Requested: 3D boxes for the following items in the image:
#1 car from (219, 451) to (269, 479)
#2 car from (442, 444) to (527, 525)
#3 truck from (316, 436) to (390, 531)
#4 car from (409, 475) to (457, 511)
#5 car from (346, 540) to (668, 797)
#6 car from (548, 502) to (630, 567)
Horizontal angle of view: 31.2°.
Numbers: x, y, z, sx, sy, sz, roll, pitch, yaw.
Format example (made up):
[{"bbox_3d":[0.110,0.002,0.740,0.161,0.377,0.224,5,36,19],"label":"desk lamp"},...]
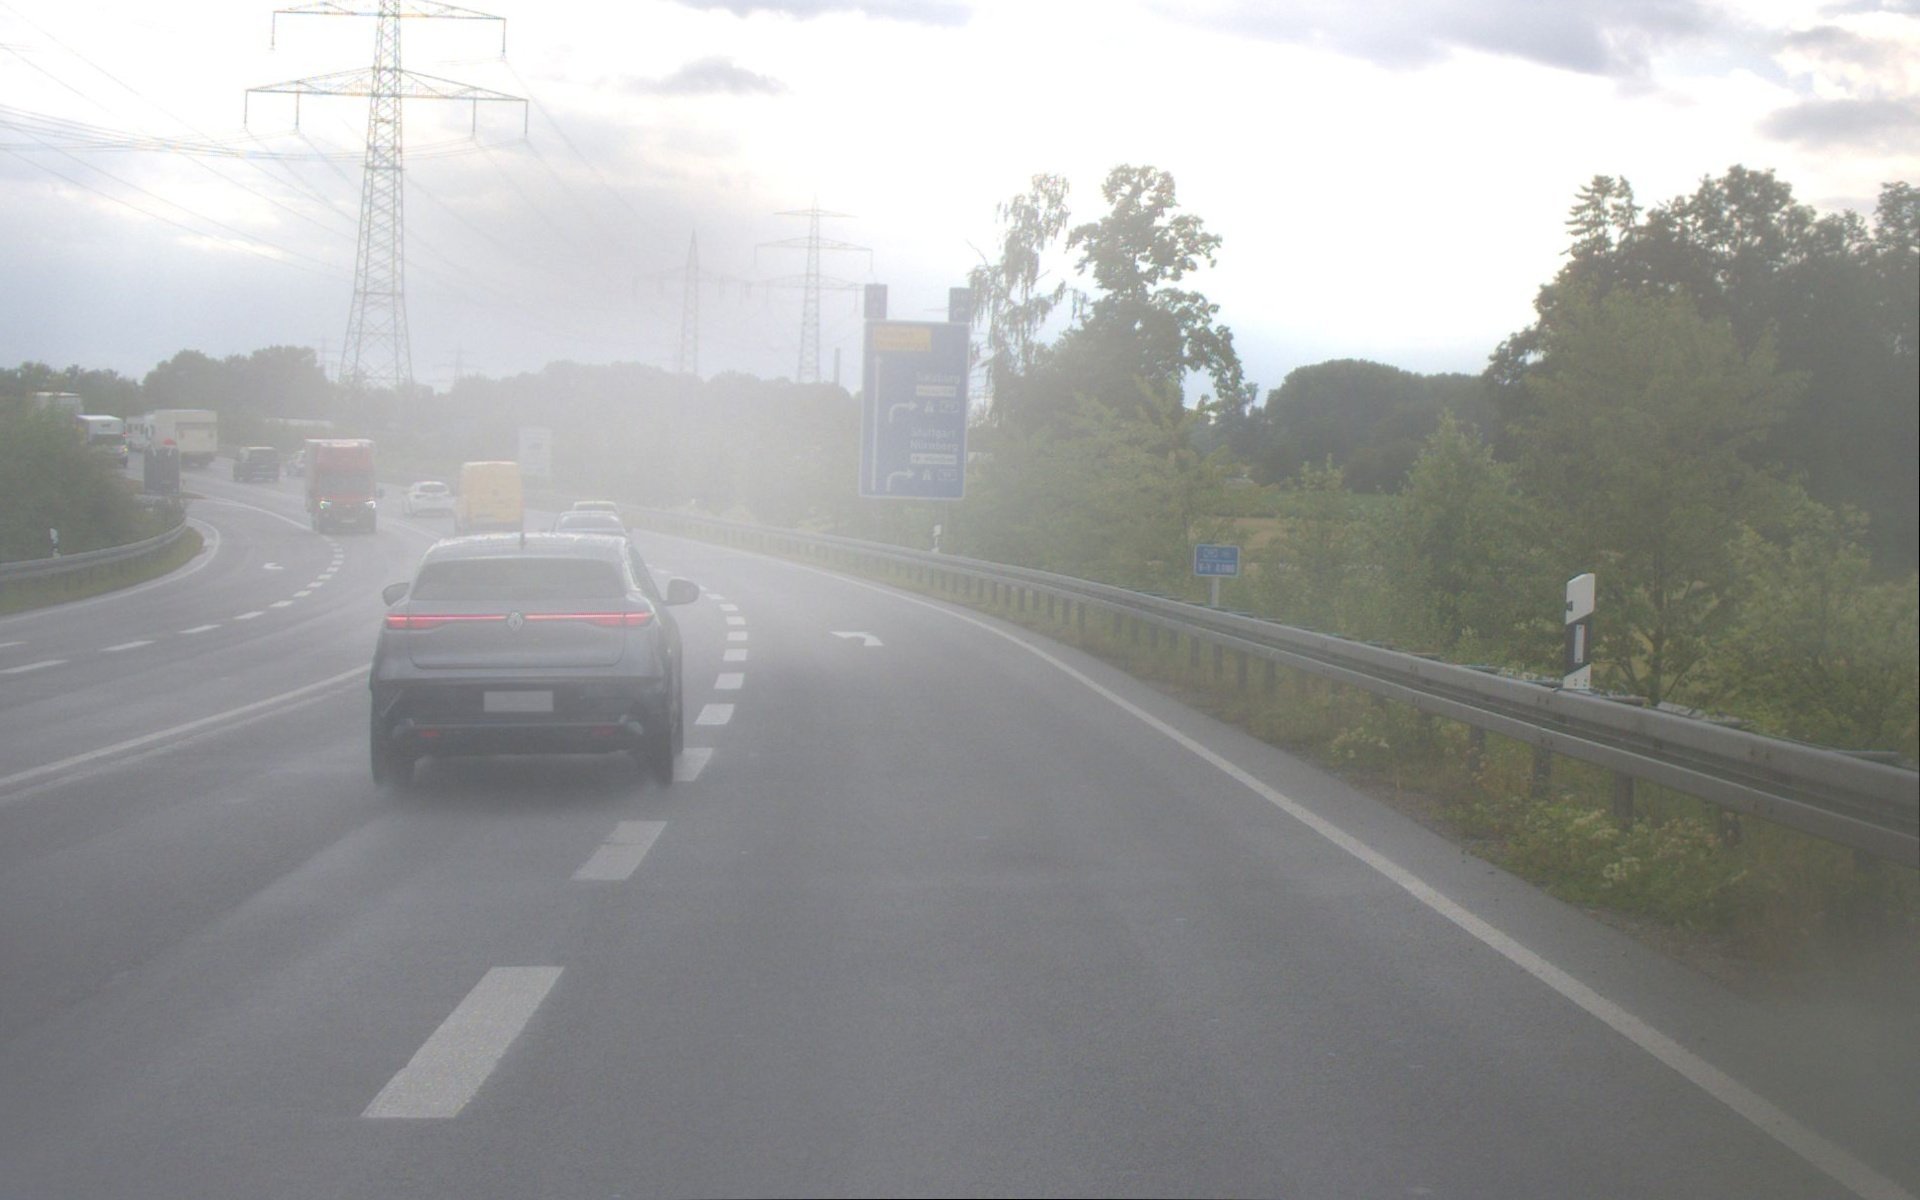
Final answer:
[{"bbox_3d":[-40.020,-7.536,192.067,1.791,1.436,4.001,3,1,-25],"label":"car"},{"bbox_3d":[-16.431,-3.965,118.429,2.572,2.716,7.199,0,2,-11],"label":"car"},{"bbox_3d":[-21.980,-4.235,124.316,2.480,3.280,7.283,-1,2,-10],"label":"truck"},{"bbox_3d":[-21.773,-4.417,141.873,1.791,1.436,4.001,1,1,-11],"label":"car"},{"bbox_3d":[-2.732,0.350,21.461,1.791,1.436,4.001,-1,1,-5],"label":"car"},{"bbox_3d":[-8.372,-1.484,77.647,1.791,1.436,4.001,0,1,-6],"label":"car"}]
